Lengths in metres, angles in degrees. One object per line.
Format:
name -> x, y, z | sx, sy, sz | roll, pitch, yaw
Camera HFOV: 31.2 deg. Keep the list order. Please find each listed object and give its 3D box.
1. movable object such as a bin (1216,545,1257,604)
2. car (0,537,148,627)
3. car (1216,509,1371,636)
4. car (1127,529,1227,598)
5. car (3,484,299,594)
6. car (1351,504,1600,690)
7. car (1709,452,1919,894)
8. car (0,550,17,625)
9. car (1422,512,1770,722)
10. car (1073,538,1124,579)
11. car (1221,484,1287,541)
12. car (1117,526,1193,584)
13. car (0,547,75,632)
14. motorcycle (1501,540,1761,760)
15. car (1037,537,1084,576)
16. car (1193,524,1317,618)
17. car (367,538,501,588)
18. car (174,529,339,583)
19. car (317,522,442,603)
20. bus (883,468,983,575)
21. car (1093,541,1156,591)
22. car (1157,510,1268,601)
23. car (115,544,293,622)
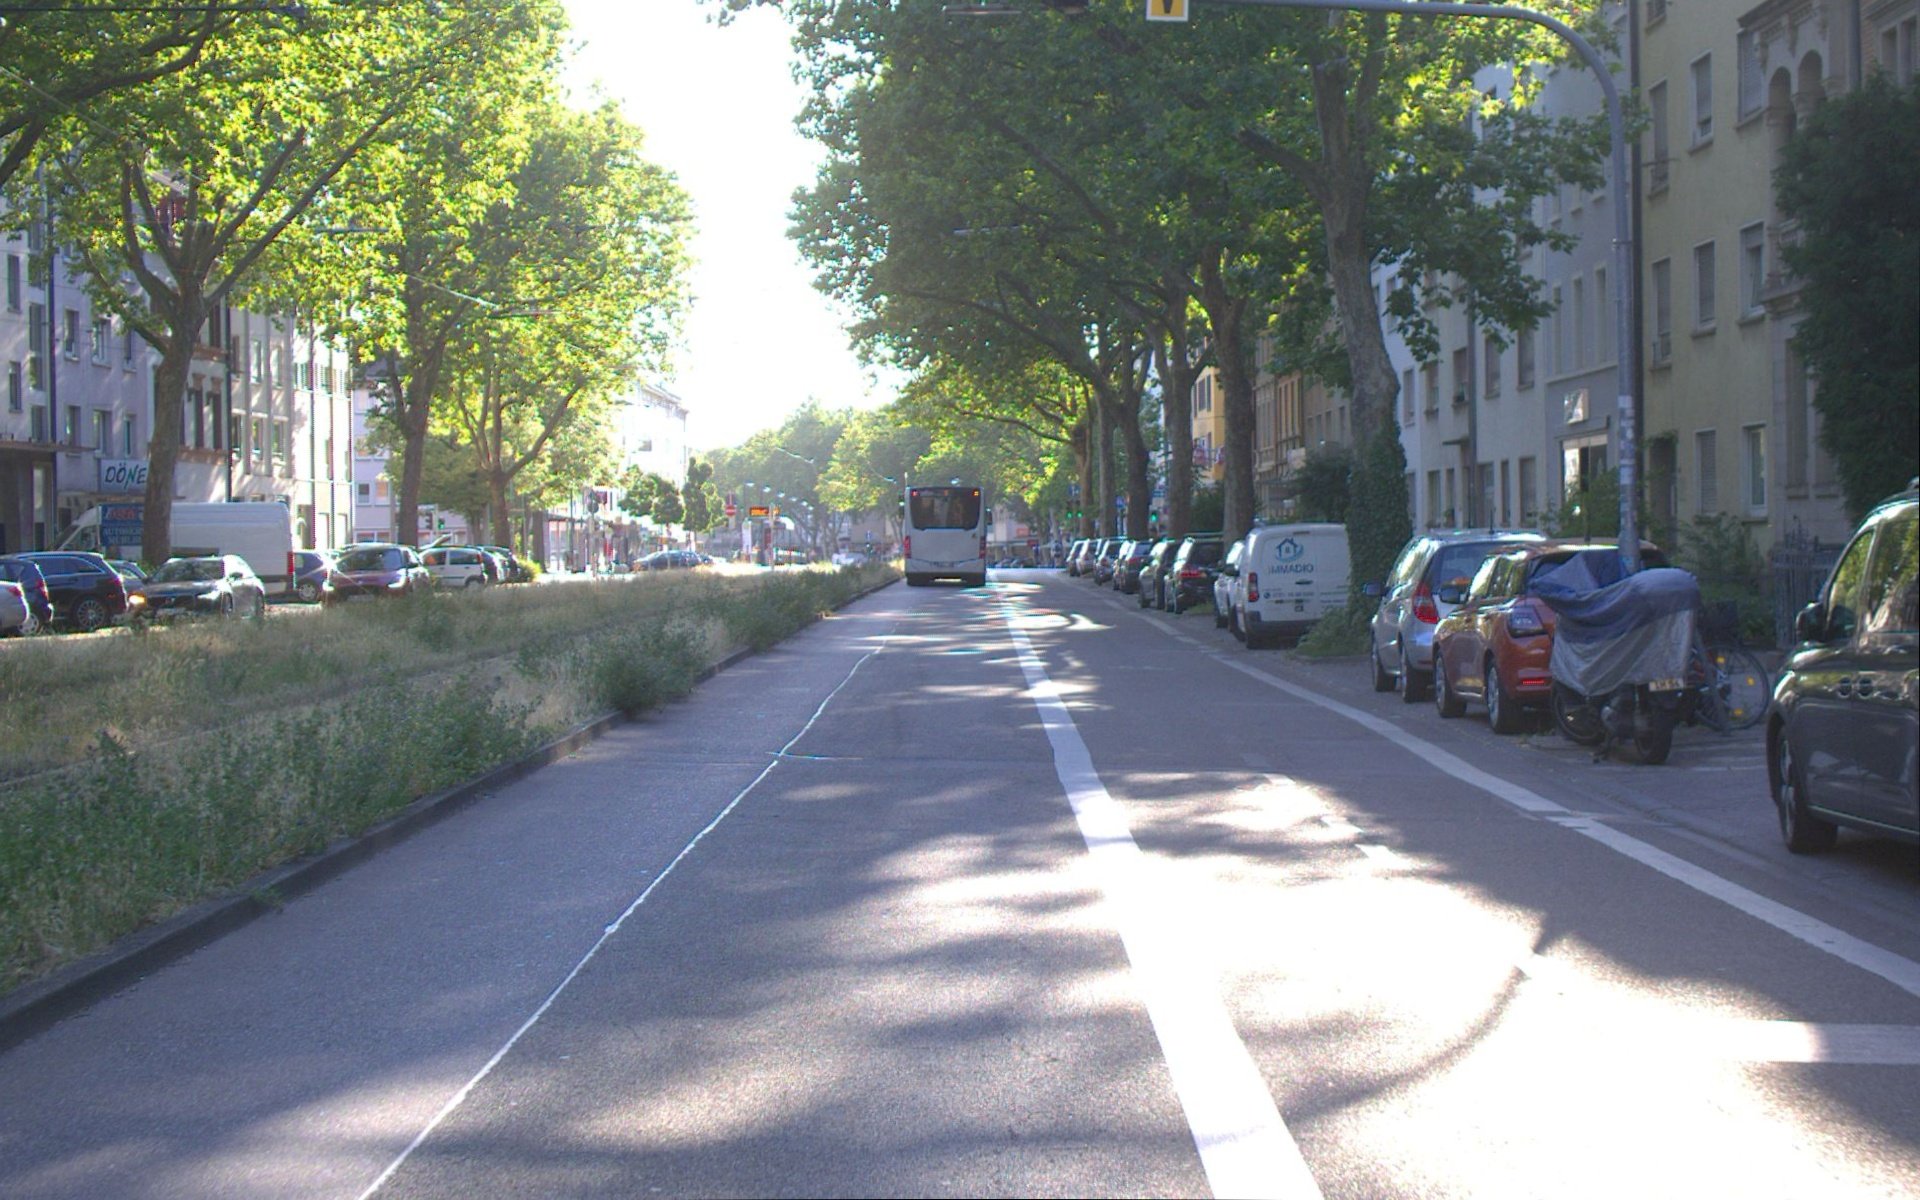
movable object such as a bin -> 5.121, -0.475, 63.799 | 0.673, 1.042, 0.880 | -1, 2, 0
car -> -18.825, -0.354, 70.052 | 3.987, 1.693, 1.856 | -3, 2, -31
car -> 4.847, -0.406, 50.521 | 1.744, 1.764, 4.394 | -1, 0, -1
car -> 4.791, -0.806, 76.344 | 1.685, 1.481, 4.001 | -1, 0, -4
car -> -20.171, -1.525, 85.780 | 6.935, 2.669, 2.186 | -1, 0, -20
car -> 4.926, -0.041, 33.322 | 1.744, 1.684, 3.852 | -1, 0, -1
car -> 4.919, 0.282, 15.373 | 1.993, 1.823, 4.758 | -1, 0, -1
car -> -19.112, -0.202, 61.555 | 3.987, 1.351, 1.586 | -1, 0, -31
car -> 5.049, 0.113, 27.853 | 1.993, 1.554, 3.980 | -1, 0, -1
car -> 5.321, -1.624, 132.747 | 1.781, 1.510, 4.000 | -1, 1, 0
car -> 10.039, -2.969, 117.762 | 1.883, 1.853, 4.326 | -1, 0, 0
car -> 5.233, -1.227, 92.571 | 1.781, 1.510, 4.000 | -1, 1, 0
car -> -19.452, -0.133, 66.689 | 3.987, 1.547, 1.856 | -4, 3, -31
motorcycle -> 4.592, 0.308, 23.720 | 0.823, 1.393, 2.380 | -3, 2, -12
car -> 4.048, -1.790, 139.313 | 1.781, 1.510, 4.000 | -1, 1, 0
car -> 4.853, -0.505, 56.952 | 1.645, 1.481, 4.000 | -1, 1, -1
car -> -18.436, -1.299, 120.682 | 4.300, 1.732, 1.858 | -1, 0, -40
car -> -19.552, -1.228, 95.647 | 4.297, 1.453, 1.859 | -1, 0, -5
car -> -11.627, -0.773, 69.078 | 1.790, 1.568, 4.000 | -1, 1, 0
bus -> -0.923, -2.424, 108.944 | 2.833, 3.224, 8.183 | -1, 0, -3
car -> 5.251, -1.107, 110.141 | 1.781, 1.510, 4.000 | -1, 1, 0
car -> 5.058, -0.882, 69.449 | 1.744, 1.764, 4.989 | -1, 0, -1
car -> -14.721, -0.346, 67.234 | 1.746, 1.455, 4.923 | -1, 0, 8
